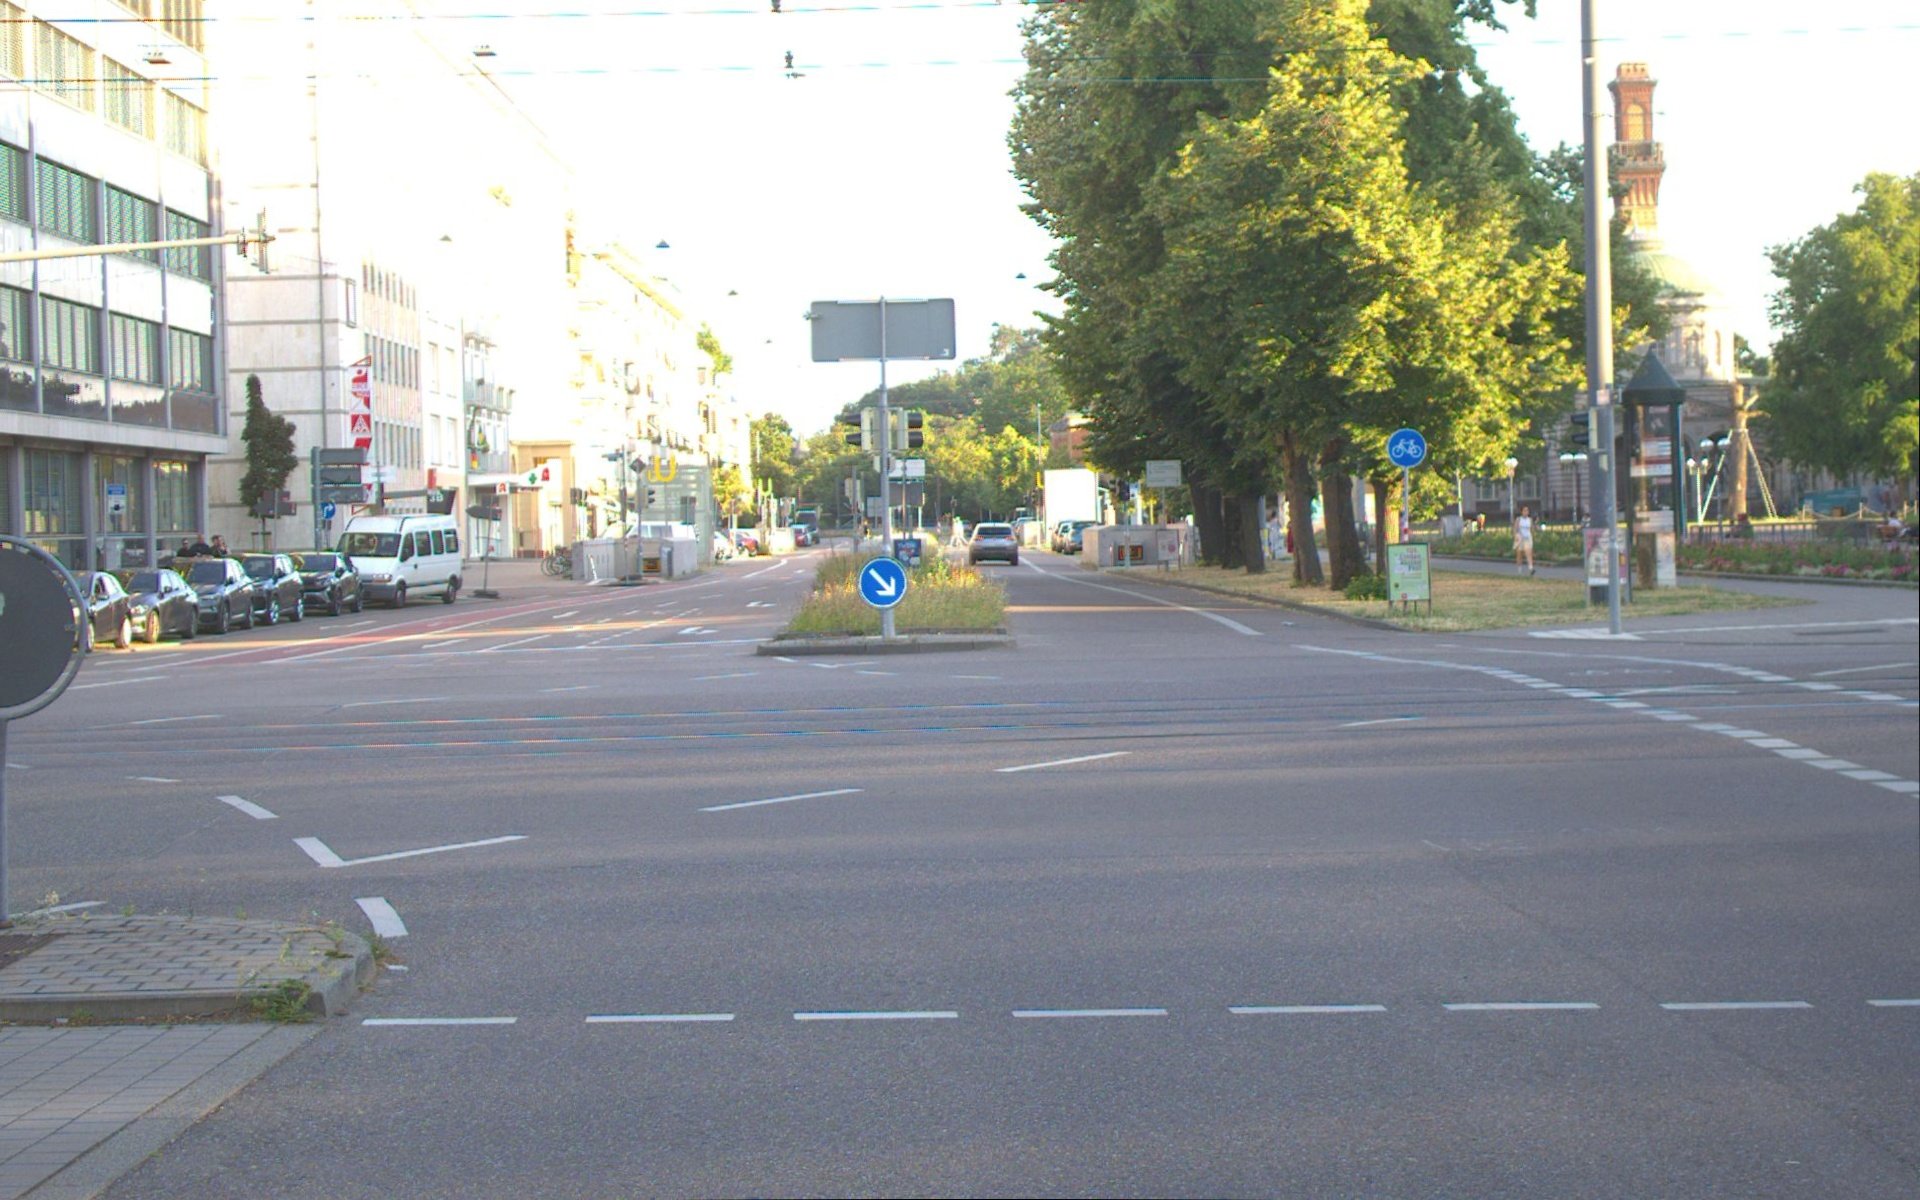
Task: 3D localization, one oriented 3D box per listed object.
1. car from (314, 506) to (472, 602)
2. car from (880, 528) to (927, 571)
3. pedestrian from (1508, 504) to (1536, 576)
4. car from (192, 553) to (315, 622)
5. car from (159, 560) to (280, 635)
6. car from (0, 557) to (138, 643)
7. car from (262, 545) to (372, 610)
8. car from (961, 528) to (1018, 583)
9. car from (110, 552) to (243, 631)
[{"bbox_3d":[-15.212,-1.198,92.607,2.177,2.377,5.986,-2,-1,11],"label":"car"},{"bbox_3d":[-2.475,-2.216,149.924,1.993,1.809,4.000,-1,1,-1],"label":"car"},{"bbox_3d":[13.165,-1.413,80.568,0.508,1.663,0.531,-1,1,-1],"label":"pedestrian"},{"bbox_3d":[-16.336,-0.266,79.625,1.796,1.470,3.999,-2,-1,3],"label":"car"},{"bbox_3d":[-15.961,-0.033,74.260,1.796,1.470,4.000,-1,-1,-1],"label":"car"},{"bbox_3d":[-16.460,0.027,63.135,1.796,1.470,4.000,-1,-1,-1],"label":"car"},{"bbox_3d":[-16.053,-0.541,86.022,1.796,1.470,3.999,-2,-1,3],"label":"car"},{"bbox_3d":[1.110,-1.700,131.085,1.993,2.007,4.000,-1,1,-1],"label":"car"},{"bbox_3d":[-15.730,-0.147,69.209,1.796,1.470,4.000,-1,-1,-1],"label":"car"}]
